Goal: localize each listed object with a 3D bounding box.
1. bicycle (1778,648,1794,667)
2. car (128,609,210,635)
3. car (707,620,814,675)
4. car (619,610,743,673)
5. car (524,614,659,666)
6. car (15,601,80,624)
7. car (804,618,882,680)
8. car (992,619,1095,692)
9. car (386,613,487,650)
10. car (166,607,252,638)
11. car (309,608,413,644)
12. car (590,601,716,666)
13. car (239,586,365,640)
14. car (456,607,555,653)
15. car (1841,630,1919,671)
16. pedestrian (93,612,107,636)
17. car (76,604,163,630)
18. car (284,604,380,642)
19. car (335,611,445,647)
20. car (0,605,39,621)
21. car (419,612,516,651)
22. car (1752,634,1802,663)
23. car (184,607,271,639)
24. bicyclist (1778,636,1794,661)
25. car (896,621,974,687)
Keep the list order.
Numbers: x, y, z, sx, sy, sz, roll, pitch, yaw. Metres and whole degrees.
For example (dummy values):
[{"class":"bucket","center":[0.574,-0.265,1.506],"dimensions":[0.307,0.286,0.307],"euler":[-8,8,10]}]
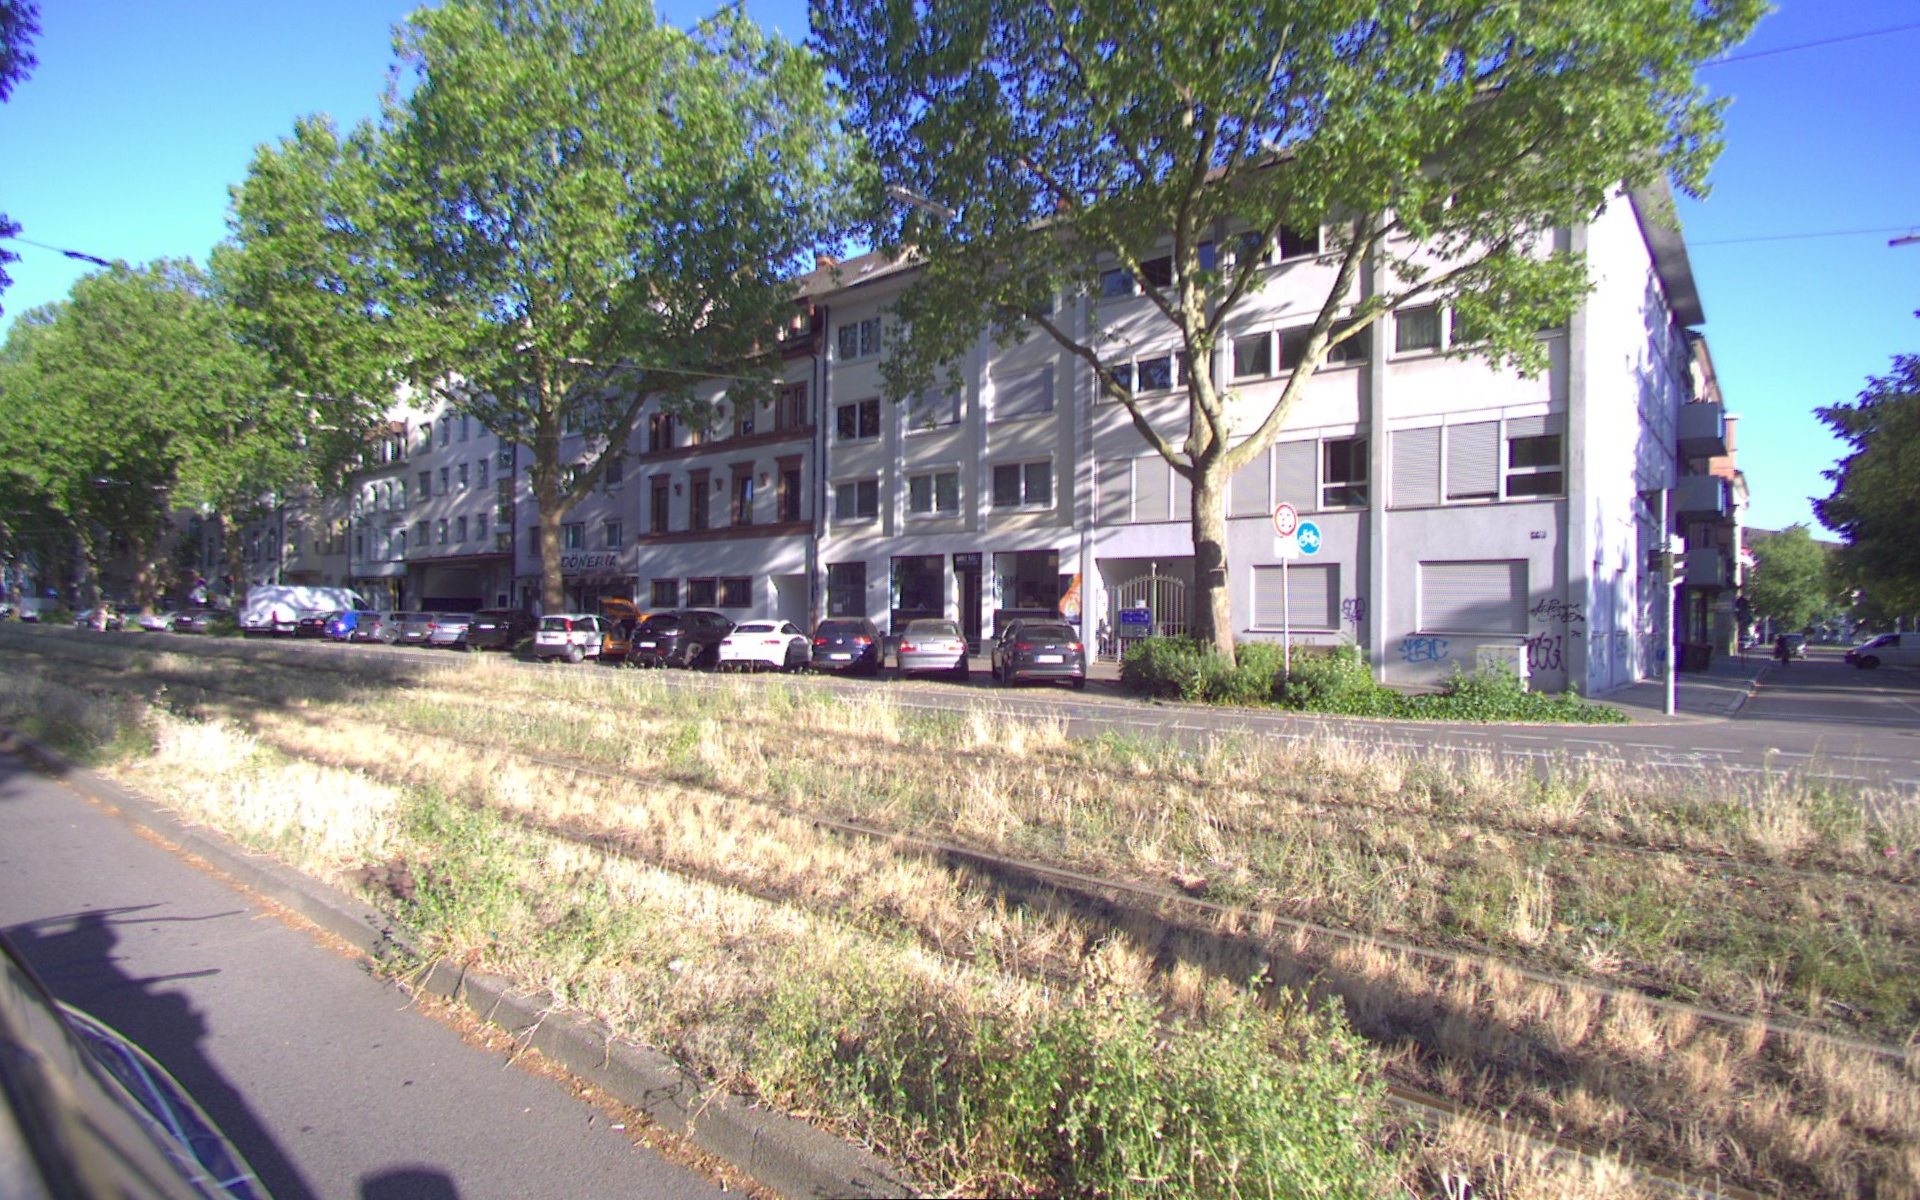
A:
[{"class":"bicycle","center":[46.536,3.224,57.000],"dimensions":[0.632,0.988,1.962],"euler":[0,-2,41]},{"class":"car","center":[-53.531,1.494,68.567],"dimensions":[1.980,1.719,3.983],"euler":[0,-1,13]},{"class":"car","center":[-5.371,1.246,27.771],"dimensions":[2.123,1.388,4.257],"euler":[1,-1,0]},{"class":"car","center":[-8.088,1.174,29.782],"dimensions":[2.126,1.697,4.250],"euler":[1,-1,5]},{"class":"car","center":[-11.885,1.260,32.897],"dimensions":[1.634,1.569,4.222],"euler":[0,-1,25]},{"class":"car","center":[-90.268,1.247,100.163],"dimensions":[2.071,2.230,4.944],"euler":[1,-1,-2]},{"class":"car","center":[-3.038,1.239,26.952],"dimensions":[1.805,1.515,3.973],"euler":[1,-1,-3]},{"class":"car","center":[1.755,1.163,22.494],"dimensions":[1.746,1.442,3.973],"euler":[1,-1,-3]},{"class":"car","center":[-22.119,1.296,42.968],"dimensions":[1.883,1.468,4.252],"euler":[1,-1,4]},{"class":"car","center":[-46.902,1.414,63.286],"dimensions":[1.980,1.829,3.983],"euler":[0,-1,13]},{"class":"car","center":[-27.960,1.208,47.391],"dimensions":[1.980,1.630,3.983],"euler":[0,-1,13]},{"class":"car","center":[-9.916,1.059,32.974],"dimensions":[1.508,1.958,4.222],"euler":[0,-1,25]},{"class":"car","center":[-34.794,0.704,53.731],"dimensions":[2.160,2.721,5.584],"euler":[0,-1,16]},{"class":"car","center":[-17.163,1.134,38.455],"dimensions":[1.881,1.626,4.257],"euler":[1,-1,0]},{"class":"car","center":[49.405,2.614,52.364],"dimensions":[5.405,2.029,1.979],"euler":[0,-1,31]},{"class":"pedestrian","center":[-56.796,1.595,66.822],"dimensions":[0.421,1.609,0.612],"euler":[0,-2,40]},{"class":"car","center":[-56.710,1.167,68.334],"dimensions":[1.996,1.719,4.184],"euler":[0,-1,36]},{"class":"car","center":[-32.410,1.183,52.347],"dimensions":[1.980,1.829,3.983],"euler":[0,-1,13]},{"class":"car","center":[-25.522,1.302,45.432],"dimensions":[1.985,1.529,3.974],"euler":[0,-1,20]},{"class":"car","center":[-108.063,1.490,115.686],"dimensions":[3.937,1.826,1.876],"euler":[2,-2,-40]},{"class":"car","center":[-19.671,1.235,40.662],"dimensions":[1.582,1.470,4.252],"euler":[1,-1,4]},{"class":"car","center":[60.894,3.570,75.510],"dimensions":[1.991,2.029,5.372],"euler":[0,-1,29]},{"class":"car","center":[-44.298,1.403,61.304],"dimensions":[1.980,1.829,3.983],"euler":[0,-1,13]},{"class":"bicyclist","center":[46.528,2.717,57.006],"dimensions":[0.632,1.341,0.956],"euler":[0,-2,41]},{"class":"car","center":[-0.657,1.245,24.564],"dimensions":[1.717,1.443,3.973],"euler":[-1,-1,-3]}]
